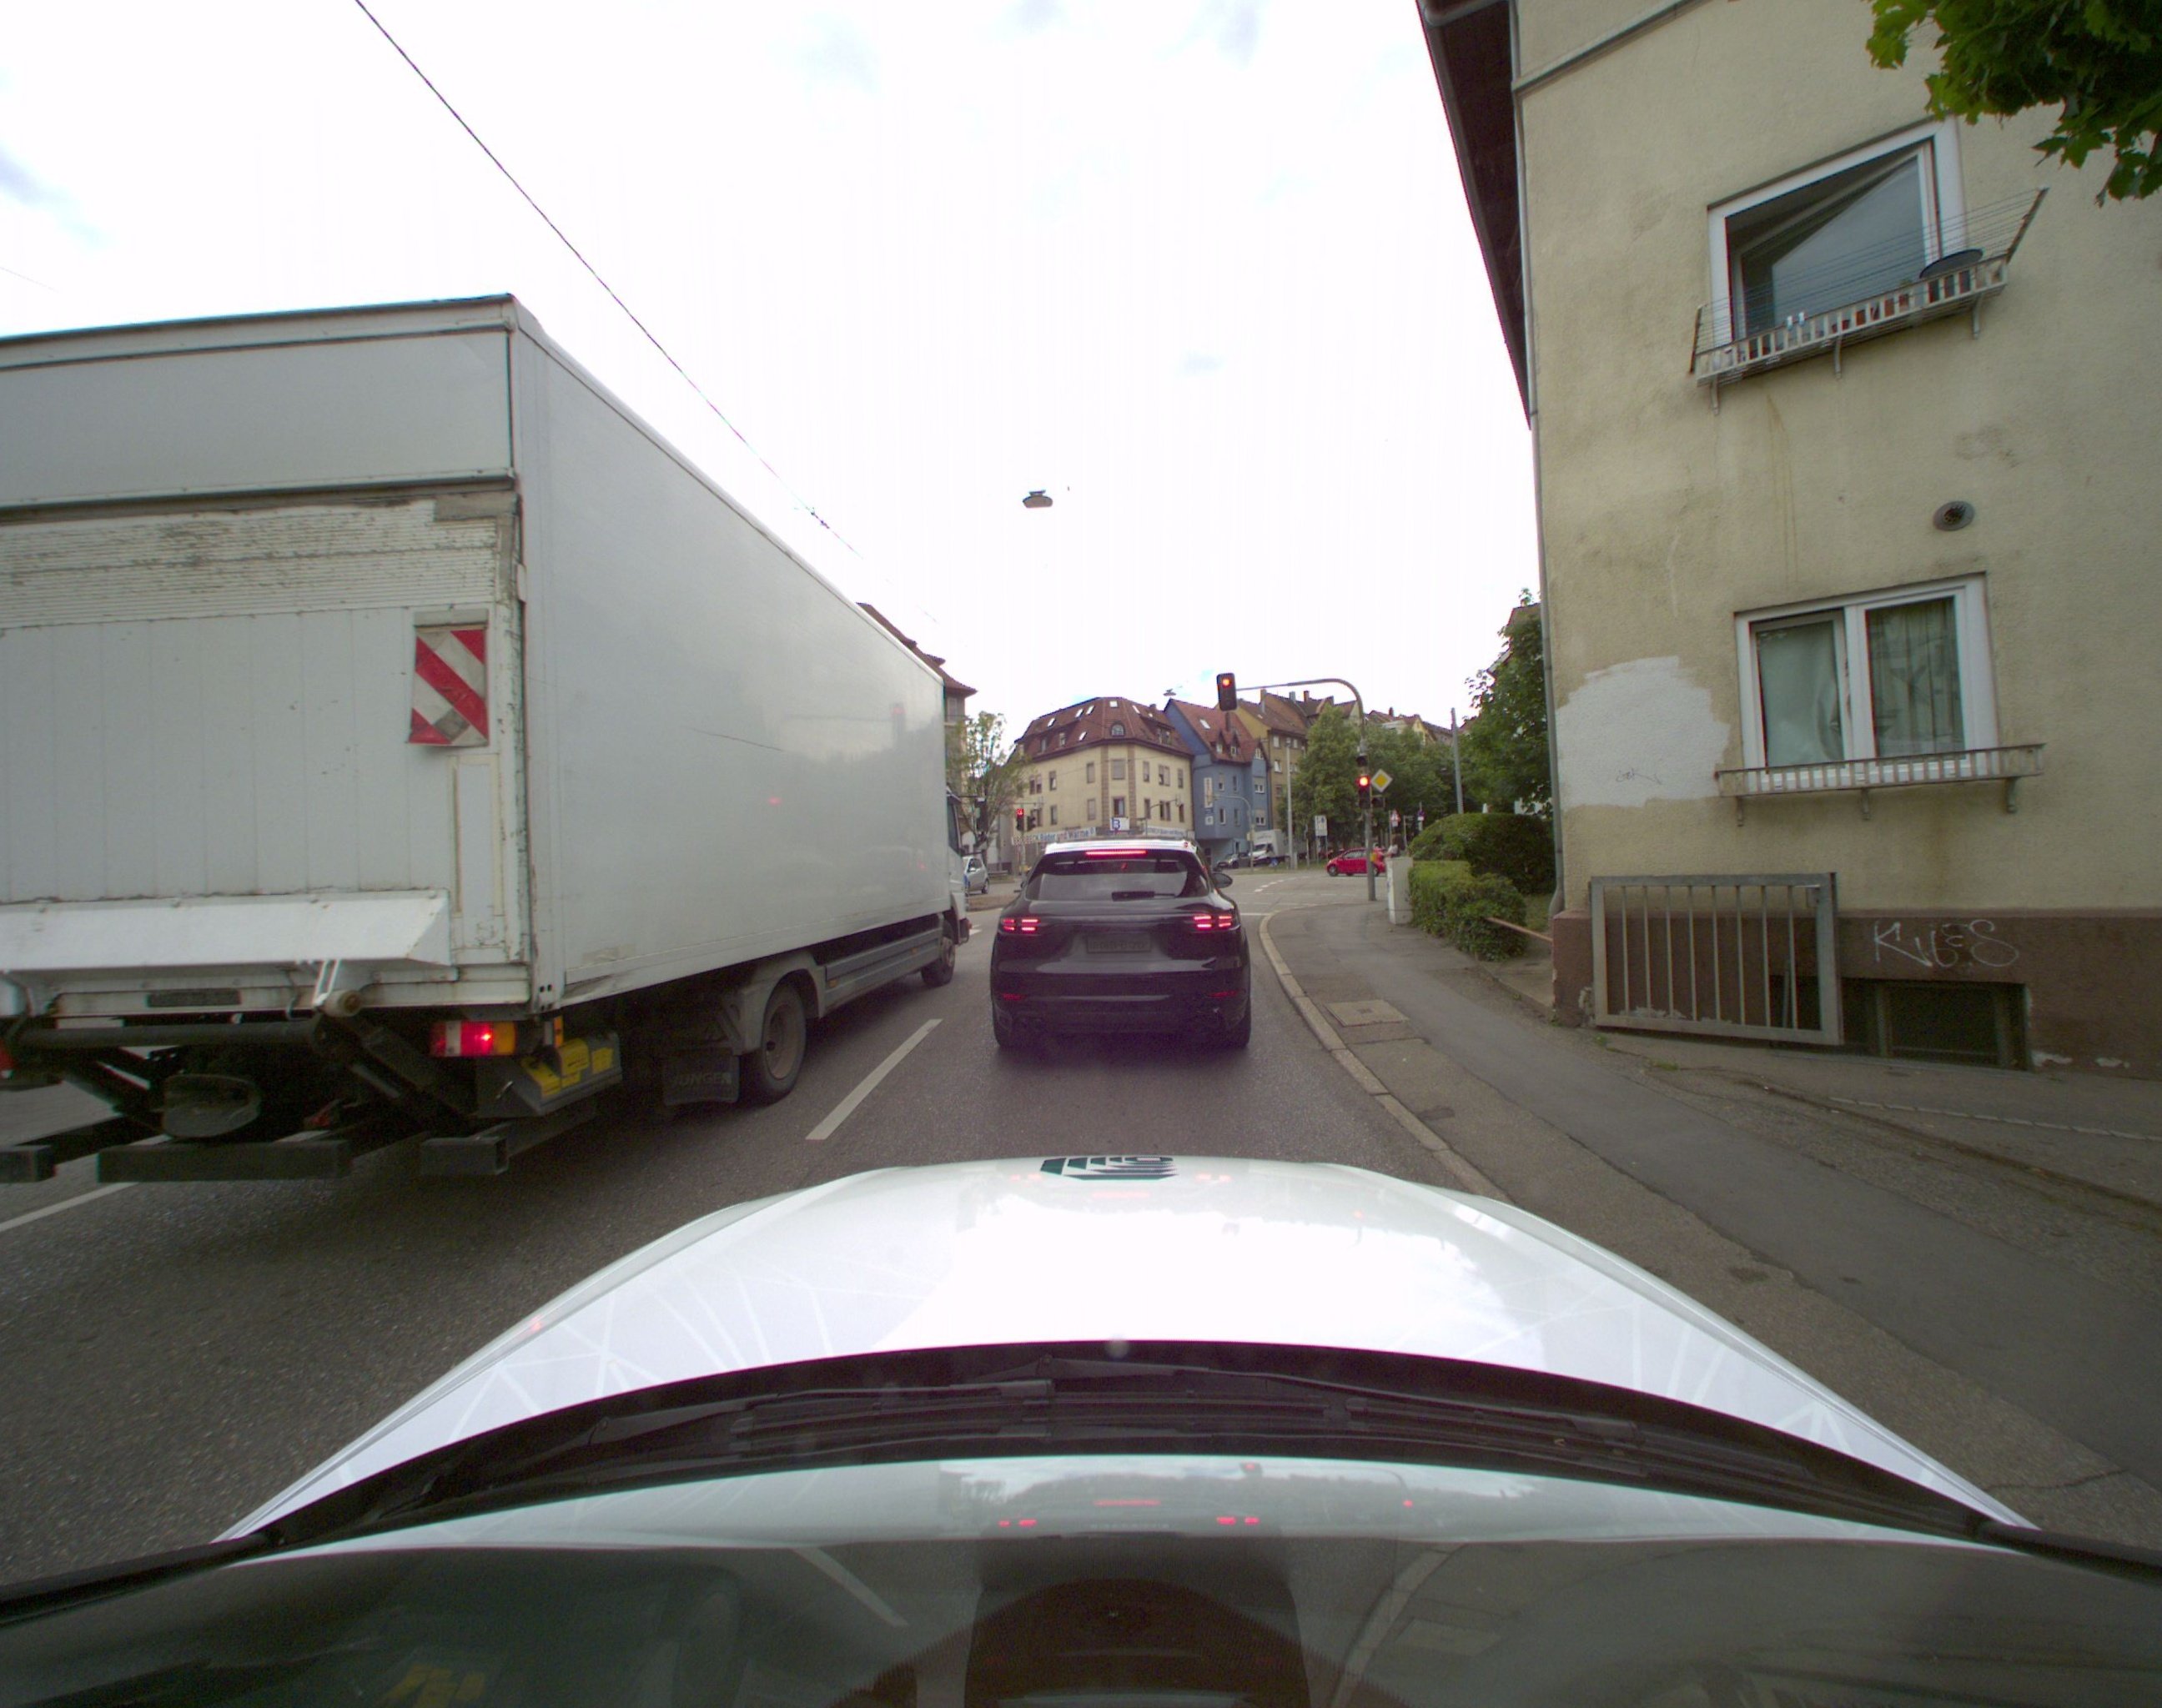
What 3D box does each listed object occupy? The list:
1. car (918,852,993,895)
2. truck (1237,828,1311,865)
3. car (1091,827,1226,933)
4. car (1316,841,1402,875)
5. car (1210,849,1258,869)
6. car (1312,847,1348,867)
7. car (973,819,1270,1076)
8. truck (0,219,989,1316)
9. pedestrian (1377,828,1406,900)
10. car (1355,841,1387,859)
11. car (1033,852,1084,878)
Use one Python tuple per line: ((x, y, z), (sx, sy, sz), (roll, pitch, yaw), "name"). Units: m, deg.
((-4.980, 0.793, 32.809), (1.878, 1.579, 3.978), (-2, -1, 8), "car")
((18.661, -0.645, 78.285), (2.846, 3.340, 8.846), (0, 0, 43), "truck")
((1.582, 0.439, 15.142), (1.980, 1.684, 4.014), (-1, 0, 12), "car")
((14.289, 0.225, 41.984), (1.723, 1.662, 3.957), (1, -1, -35), "car")
((13.492, 0.435, 71.743), (4.021, 1.684, 1.976), (-1, -1, -41), "car")
((26.187, 0.336, 85.713), (1.975, 2.014, 4.023), (0, -1, 45), "car")
((0.250, 0.607, 7.494), (1.973, 1.684, 3.998), (-1, 0, -1), "car")
((-2.920, -0.293, 6.761), (2.756, 3.575, 8.074), (-1, 0, 4), "truck")
((8.038, 0.259, 21.098), (0.525, 1.819, 0.591), (1, -1, 1), "pedestrian")
((32.914, -0.431, 92.394), (1.975, 2.014, 4.023), (0, -1, 45), "car")
((-1.819, 0.872, 64.684), (2.011, 2.014, 3.952), (1, -1, -42), "car")
